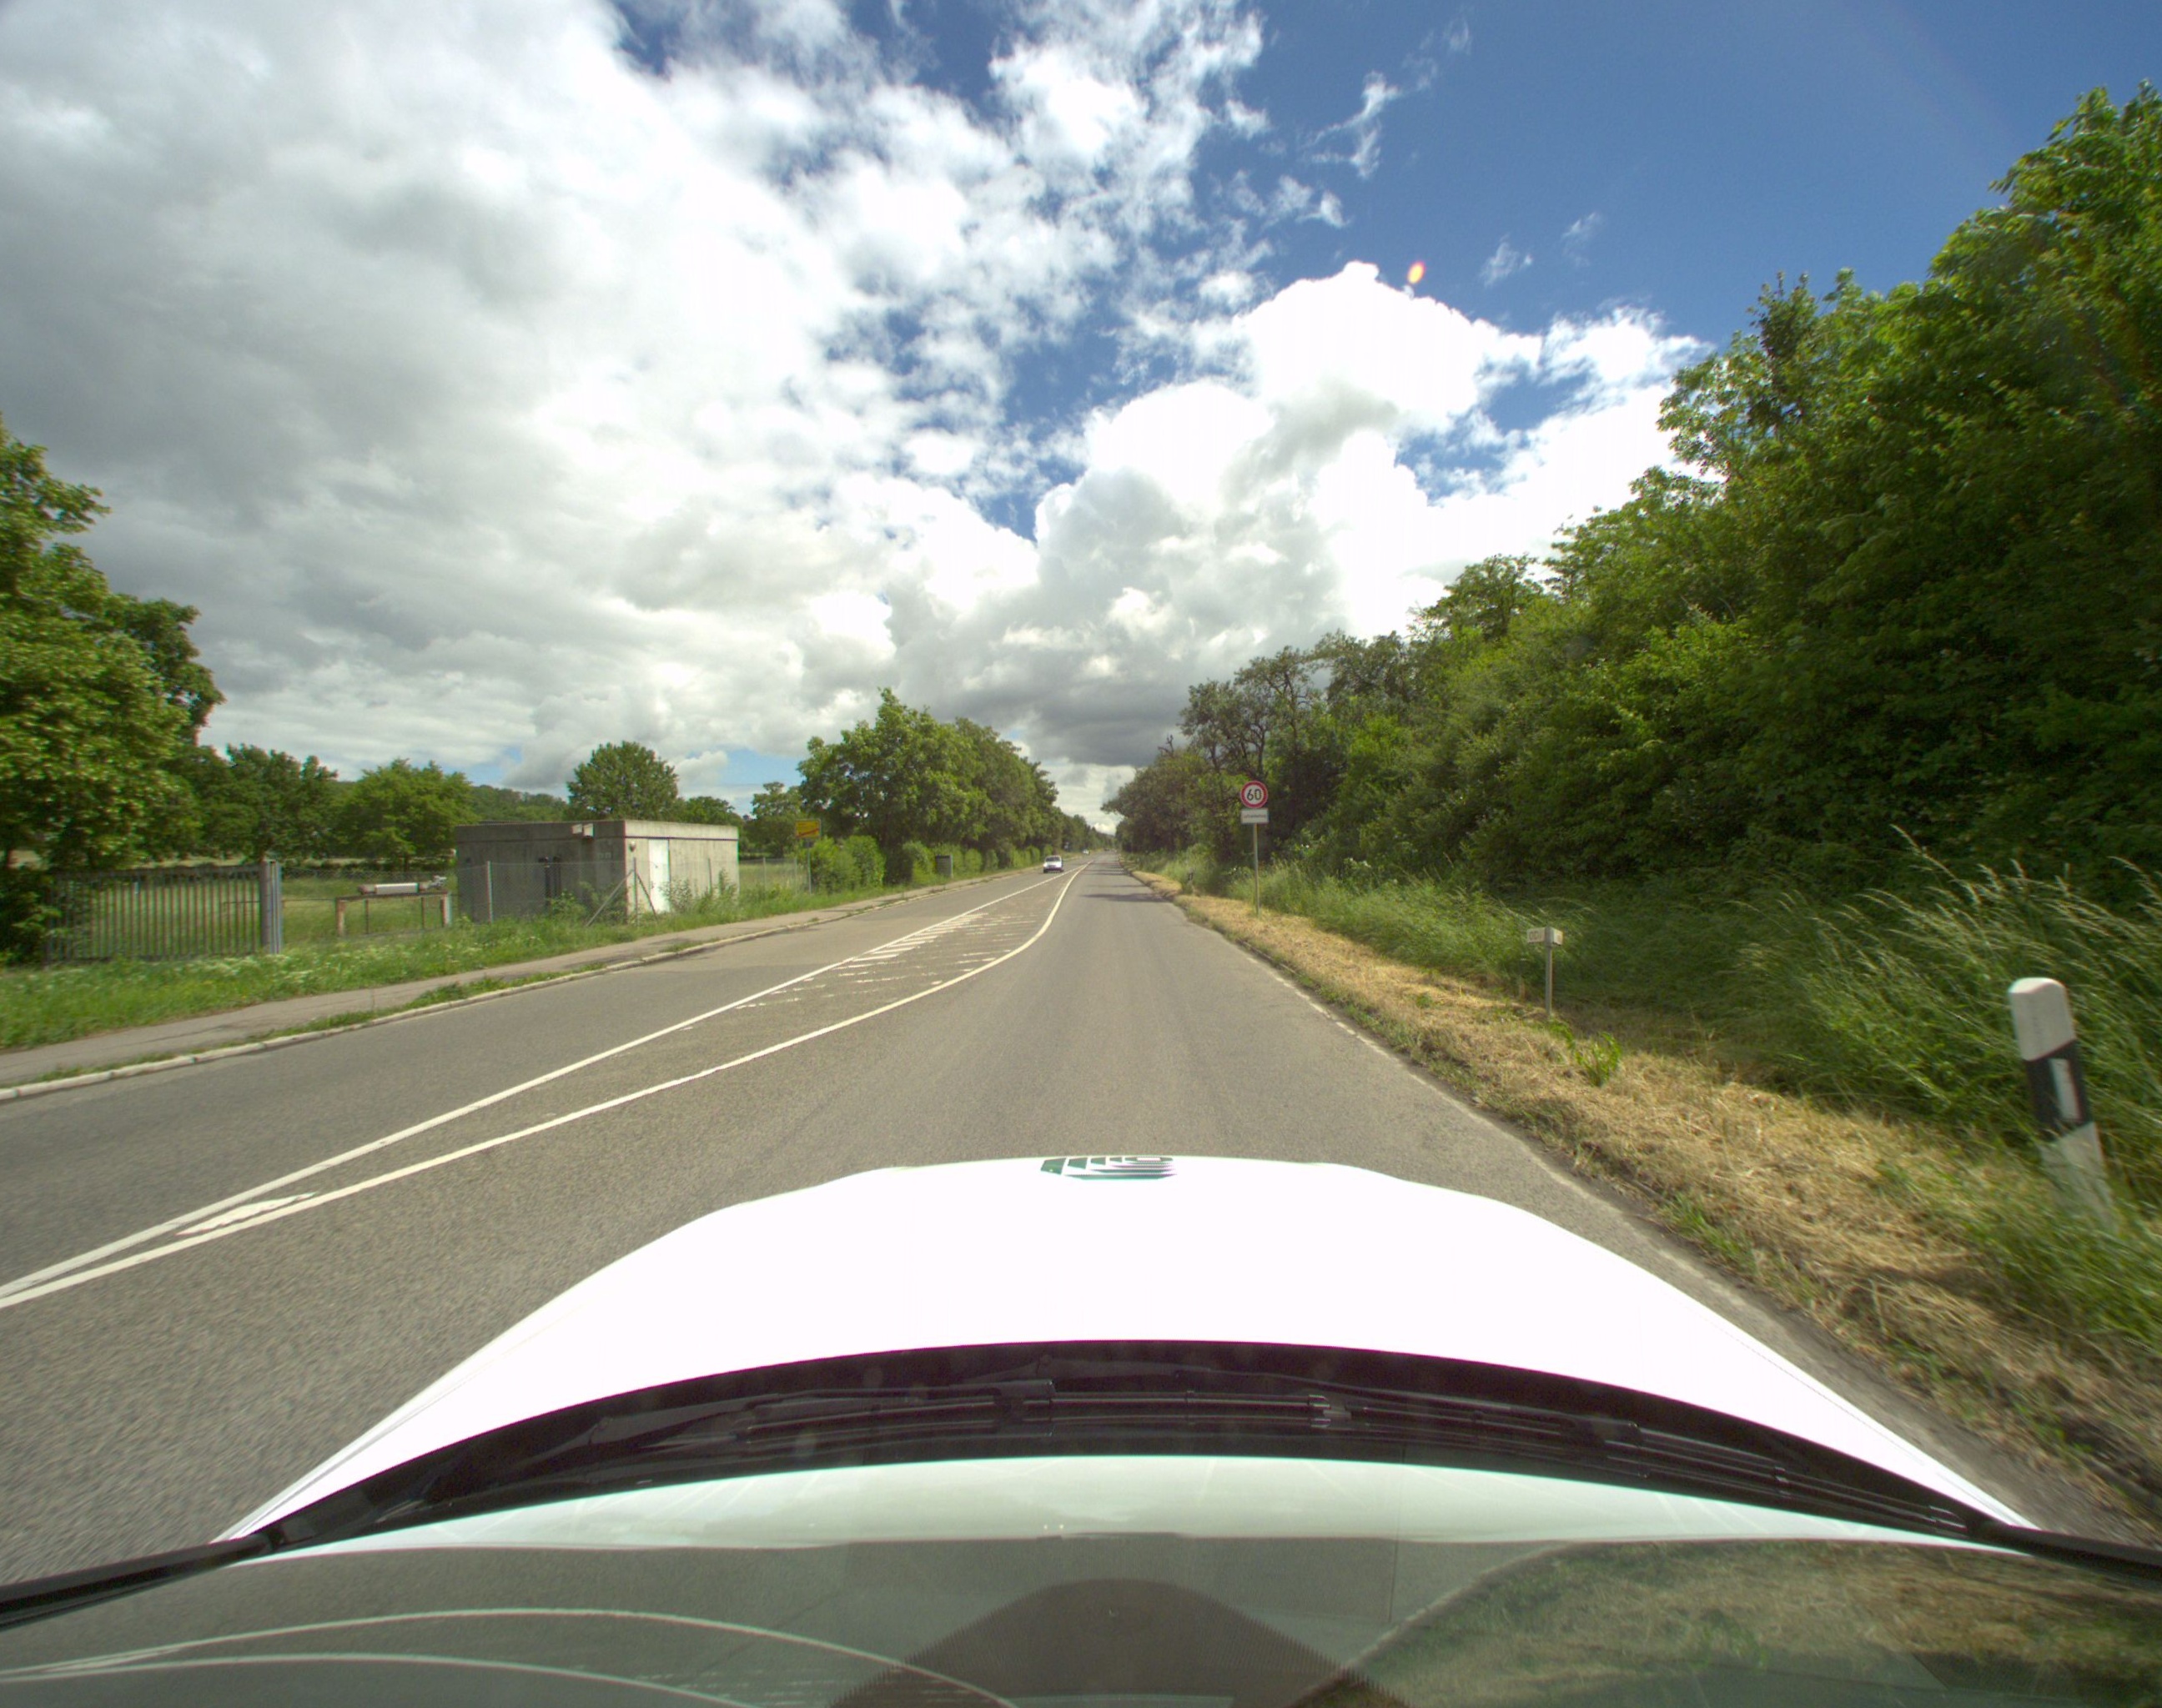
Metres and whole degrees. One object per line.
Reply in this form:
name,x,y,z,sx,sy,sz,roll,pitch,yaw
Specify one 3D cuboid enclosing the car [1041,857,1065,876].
car,-2.360,1.057,68.966,1.654,1.432,3.695,-3,0,3
